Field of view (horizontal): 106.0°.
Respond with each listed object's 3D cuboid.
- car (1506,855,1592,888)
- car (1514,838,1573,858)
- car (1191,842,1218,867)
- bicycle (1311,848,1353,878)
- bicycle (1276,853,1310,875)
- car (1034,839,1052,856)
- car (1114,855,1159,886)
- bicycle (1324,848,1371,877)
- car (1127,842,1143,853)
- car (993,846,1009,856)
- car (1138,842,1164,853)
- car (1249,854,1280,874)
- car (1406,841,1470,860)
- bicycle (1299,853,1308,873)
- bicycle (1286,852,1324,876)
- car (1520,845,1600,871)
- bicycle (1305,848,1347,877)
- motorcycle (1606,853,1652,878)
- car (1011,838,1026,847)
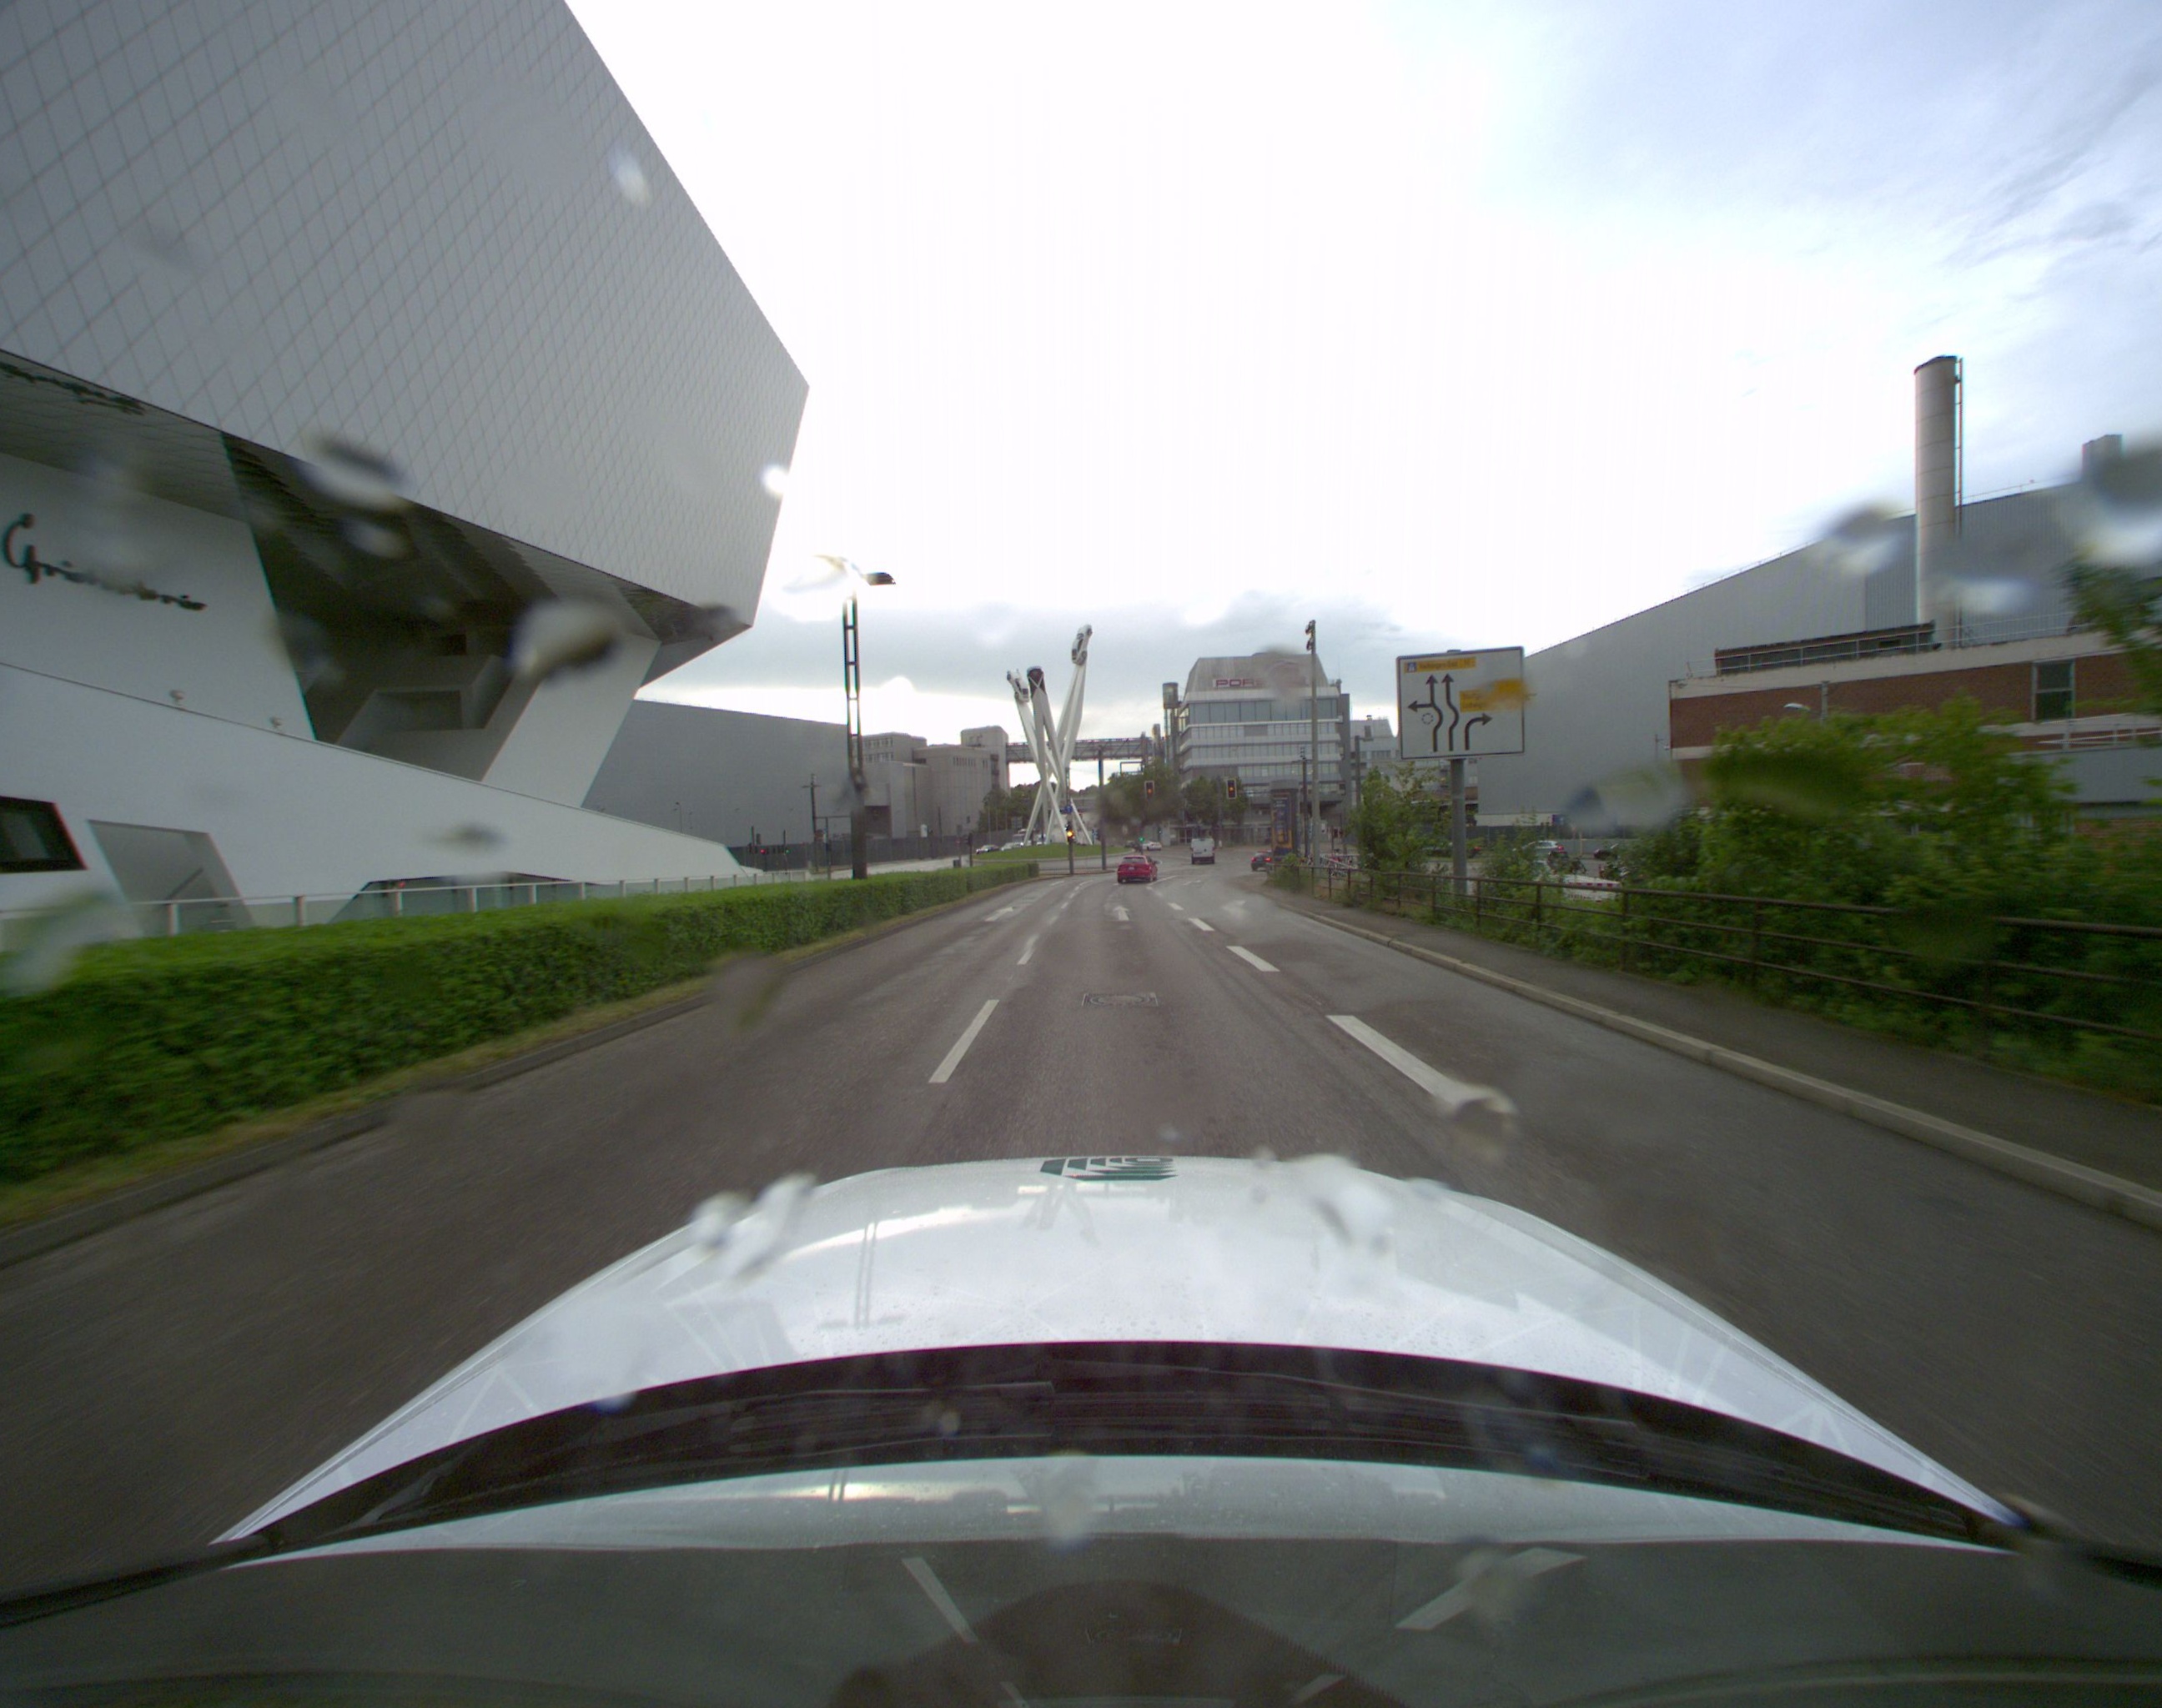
[{"bbox_3d":[24.403,0.888,42.538,3.525,1.481,1.700,-2,2,13],"label":"car"},{"bbox_3d":[38.422,-0.528,67.756,3.931,1.601,1.923,0,2,43],"label":"car"},{"bbox_3d":[11.128,0.054,73.180,2.219,2.108,4.967,-2,-1,9],"label":"car"},{"bbox_3d":[11.373,0.403,36.861,1.938,1.224,0.594,-3,0,-29],"label":"bicycle"},{"bbox_3d":[11.975,0.556,45.981,1.759,1.140,0.680,-2,-1,8],"label":"bicycle"},{"bbox_3d":[-5.773,-1.008,124.326,1.985,2.447,5.431,-3,1,3],"label":"car"},{"bbox_3d":[2.963,0.826,42.715,1.761,1.464,3.745,-2,-1,12],"label":"car"},{"bbox_3d":[11.785,0.393,36.027,1.929,1.178,0.596,-3,0,-15],"label":"bicycle"},{"bbox_3d":[7.104,-0.840,107.177,1.555,1.288,3.406,-2,-1,-6],"label":"car"},{"bbox_3d":[-12.459,-0.505,127.193,1.825,1.472,4.518,-2,0,3],"label":"car"},{"bbox_3d":[9.323,-0.827,109.241,1.676,1.301,3.852,-2,-1,-26],"label":"car"},{"bbox_3d":[13.096,0.711,57.970,1.596,1.291,3.584,-2,-1,20],"label":"car"},{"bbox_3d":[30.029,-0.311,68.572,4.527,1.539,1.768,0,3,43],"label":"car"},{"bbox_3d":[12.889,0.520,47.155,0.382,1.162,2.009,-2,-1,16],"label":"bicycle"},{"bbox_3d":[11.858,0.524,43.103,1.792,1.161,0.592,-3,-1,4],"label":"bicycle"},{"bbox_3d":[30.230,0.245,51.517,1.837,1.530,4.136,-1,0,-21],"label":"car"},{"bbox_3d":[11.314,0.400,37.599,1.937,1.224,0.594,-3,0,-27],"label":"bicycle"},{"bbox_3d":[29.377,0.614,43.699,1.996,1.190,0.614,-4,1,33],"label":"motorcycle"},{"bbox_3d":[-10.664,-1.913,139.228,1.825,1.472,4.518,-2,0,3],"label":"car"}]
